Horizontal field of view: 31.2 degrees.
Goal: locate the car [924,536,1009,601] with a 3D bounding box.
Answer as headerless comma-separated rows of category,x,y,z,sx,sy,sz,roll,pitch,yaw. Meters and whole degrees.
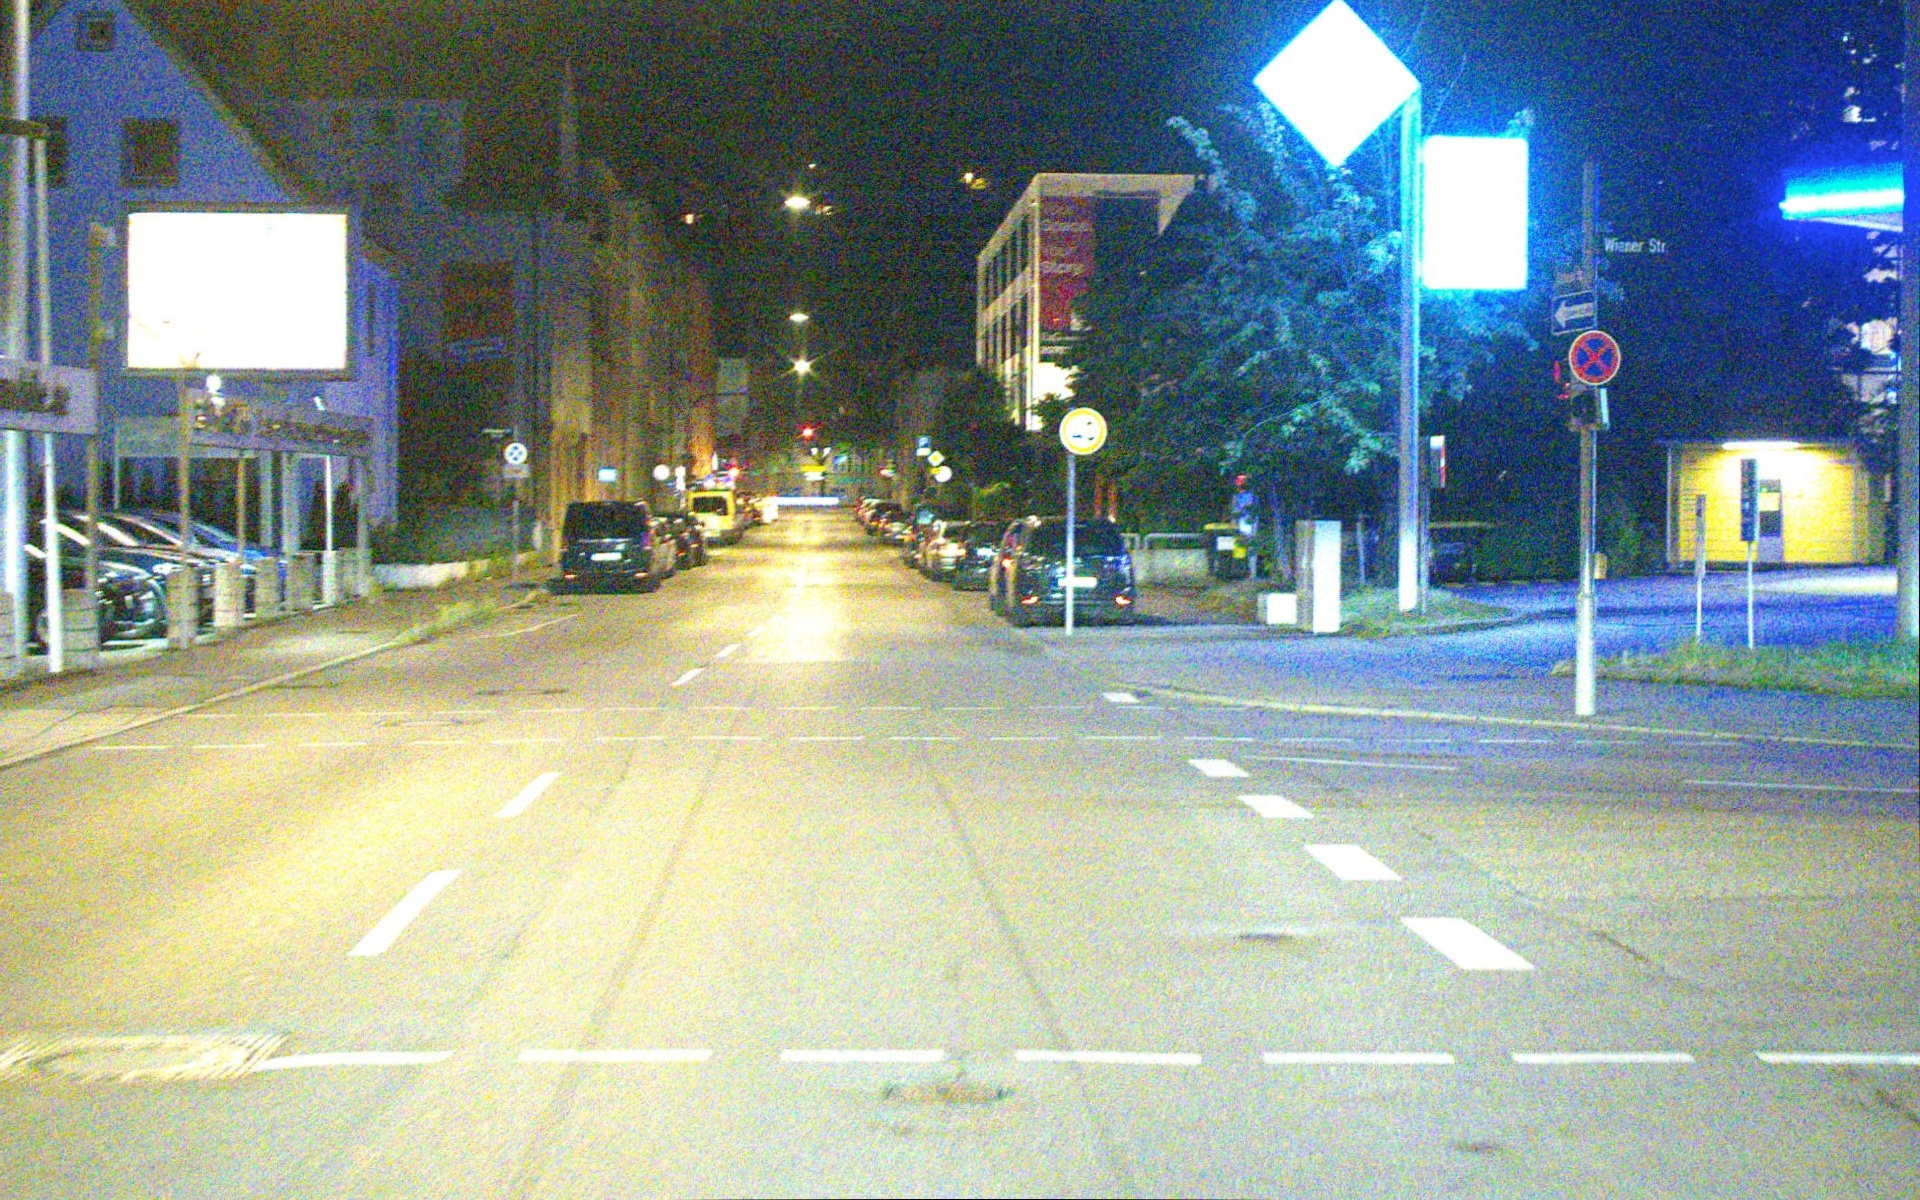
car,0.130,-0.770,82.811,1.993,1.515,4.000,0,1,-1

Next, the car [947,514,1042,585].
car,0.726,-1.104,75.691,1.993,1.515,4.000,0,1,-1

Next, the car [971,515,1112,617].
car,1.318,-0.592,57.373,1.993,1.590,4.001,1,1,-3

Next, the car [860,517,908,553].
car,-3.261,-2.781,147.837,1.993,1.515,4.000,0,1,-1

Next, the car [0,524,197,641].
car,-12.123,-0.239,43.721,4.438,1.444,2.000,0,1,-2

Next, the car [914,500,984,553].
car,-0.328,-2.138,100.653,1.993,1.515,4.000,0,1,-1

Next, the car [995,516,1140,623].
car,1.582,-0.490,51.844,1.993,1.511,4.000,1,1,-1

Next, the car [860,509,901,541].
car,-3.934,-3.732,170.953,1.993,1.515,4.000,0,1,-1

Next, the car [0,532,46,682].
car,-11.443,0.039,33.740,4.438,1.444,2.000,0,1,-2

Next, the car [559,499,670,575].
car,-7.024,-1.278,70.223,1.993,1.497,4.000,0,1,-2

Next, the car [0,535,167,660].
car,-11.944,-0.053,41.262,4.438,1.444,2.000,0,1,-2
